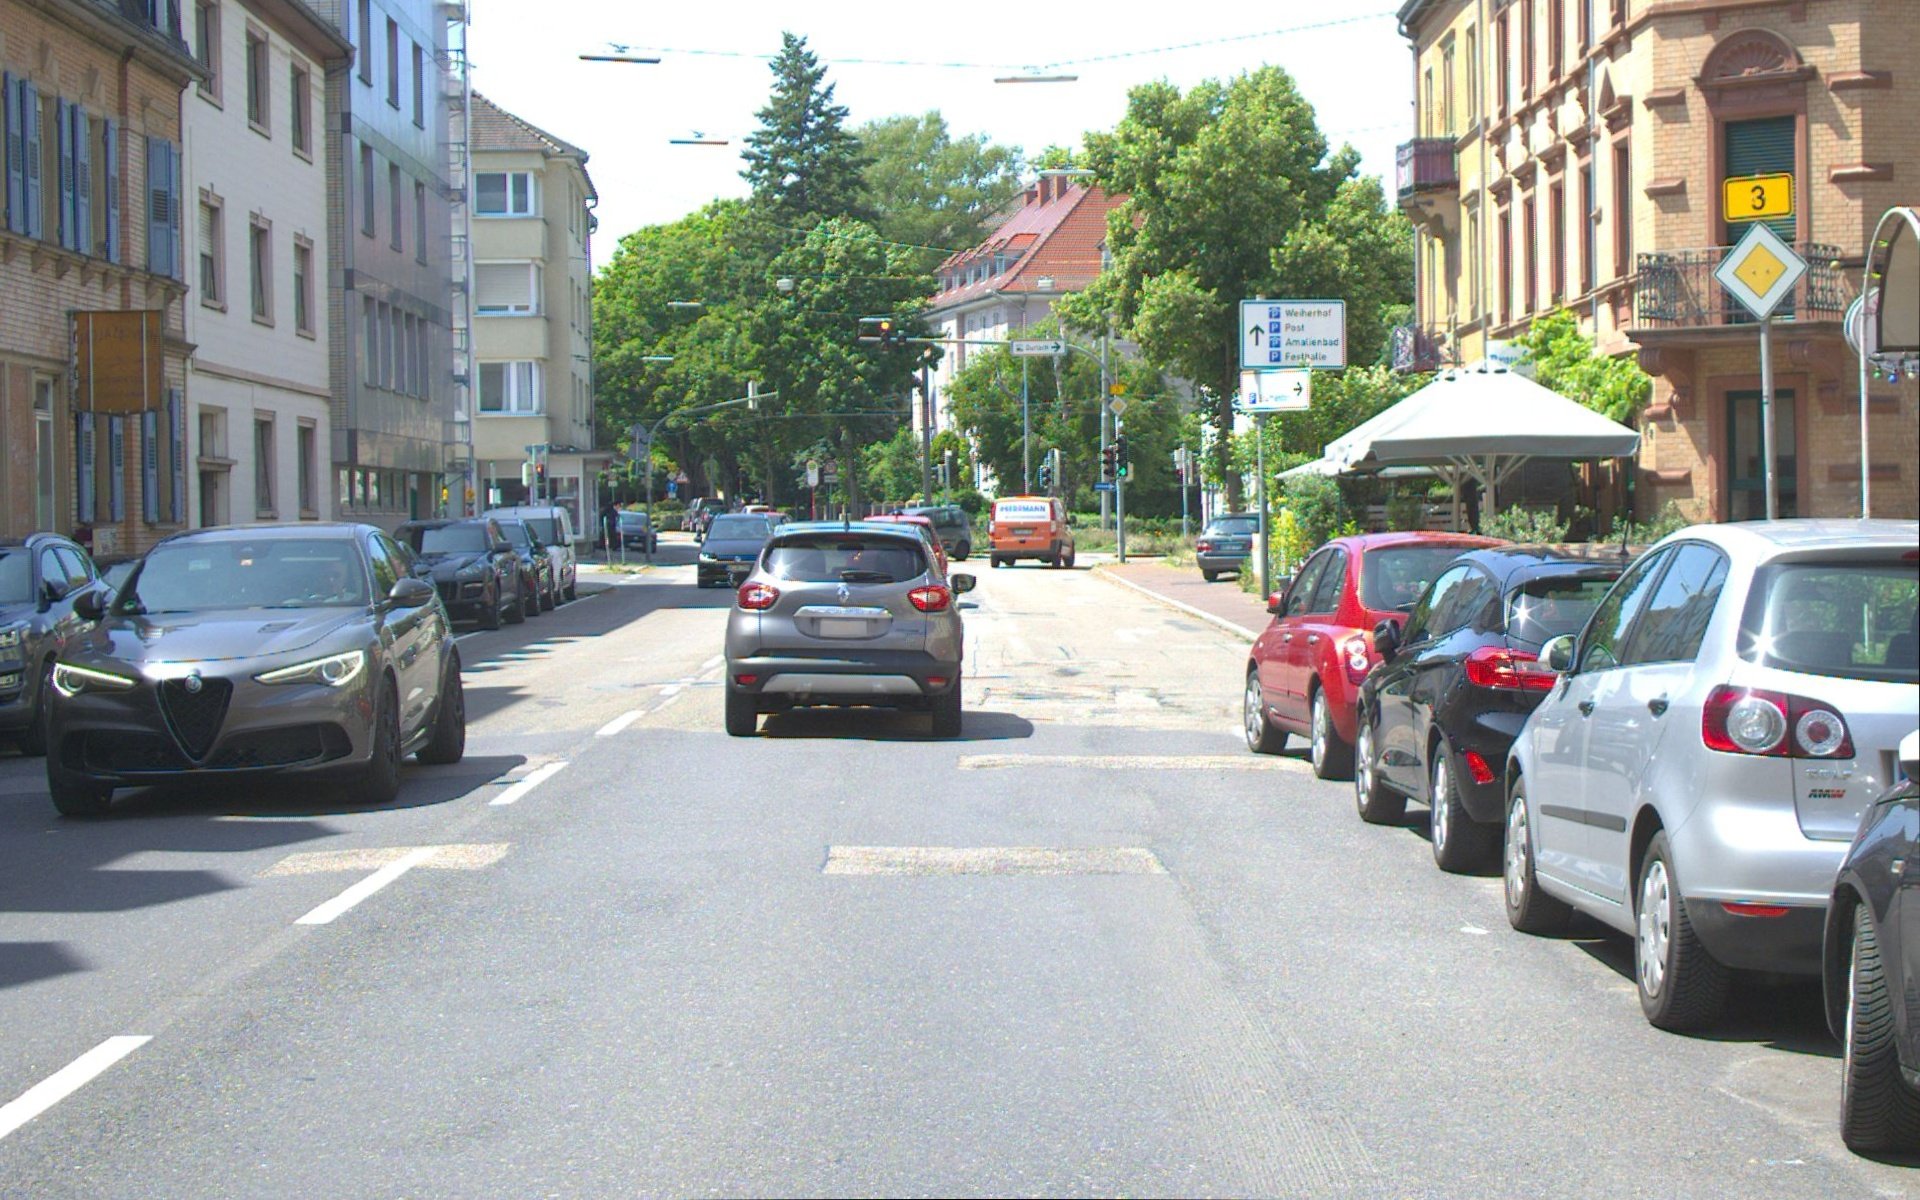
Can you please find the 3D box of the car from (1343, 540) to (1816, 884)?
[{"bbox_3d":[2.846,0.448,16.459,1.611,1.456,3.505,0,1,0],"label":"car"}]

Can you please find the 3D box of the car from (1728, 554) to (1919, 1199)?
[{"bbox_3d":[2.968,0.651,7.511,1.660,1.436,4.000,1,1,0],"label":"car"}]

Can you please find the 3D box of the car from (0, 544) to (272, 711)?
[{"bbox_3d":[-7.775,0.215,31.809,1.904,1.352,4.303,-3,1,0],"label":"car"}]

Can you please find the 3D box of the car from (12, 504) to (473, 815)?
[{"bbox_3d":[-4.189,0.277,20.728,1.939,1.620,4.000,-2,1,-1],"label":"car"}]

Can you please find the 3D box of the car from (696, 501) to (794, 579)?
[{"bbox_3d":[-4.599,-1.308,73.862,1.790,1.620,3.743,0,1,1],"label":"car"}]

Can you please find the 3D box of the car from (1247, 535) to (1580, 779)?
[{"bbox_3d":[2.840,0.308,22.166,1.611,1.438,3.437,0,1,-1],"label":"car"}]

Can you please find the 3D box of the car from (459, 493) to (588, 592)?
[{"bbox_3d":[-8.403,-1.117,66.485,1.904,1.815,4.303,-1,1,0],"label":"car"}]

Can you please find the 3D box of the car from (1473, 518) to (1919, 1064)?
[{"bbox_3d":[3.005,0.513,11.829,1.860,1.548,4.000,1,1,0],"label":"car"}]

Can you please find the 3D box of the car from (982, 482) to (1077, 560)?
[{"bbox_3d":[1.909,-2.133,92.714,1.994,2.007,4.465,-1,1,8],"label":"car"}]

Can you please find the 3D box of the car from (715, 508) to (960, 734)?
[{"bbox_3d":[-0.912,0.101,26.506,1.744,1.611,4.000,0,1,-1],"label":"car"}]

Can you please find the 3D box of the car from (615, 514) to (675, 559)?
[{"bbox_3d":[-11.674,-2.375,127.454,1.790,1.620,3.743,0,1,1],"label":"car"}]

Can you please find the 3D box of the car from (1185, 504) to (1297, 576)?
[{"bbox_3d":[6.279,-1.351,76.500,1.899,1.503,3.940,-1,1,13],"label":"car"}]

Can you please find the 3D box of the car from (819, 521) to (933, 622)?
[{"bbox_3d":[-1.498,-0.517,59.541,1.812,1.615,4.442,-2,1,-3],"label":"car"}]

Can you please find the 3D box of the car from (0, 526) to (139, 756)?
[{"bbox_3d":[-7.652,0.290,26.430,1.904,1.614,4.303,-3,1,-5],"label":"car"}]

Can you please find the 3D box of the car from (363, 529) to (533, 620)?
[{"bbox_3d":[-7.734,-0.411,52.308,1.904,1.287,4.303,-1,1,0],"label":"car"}]
